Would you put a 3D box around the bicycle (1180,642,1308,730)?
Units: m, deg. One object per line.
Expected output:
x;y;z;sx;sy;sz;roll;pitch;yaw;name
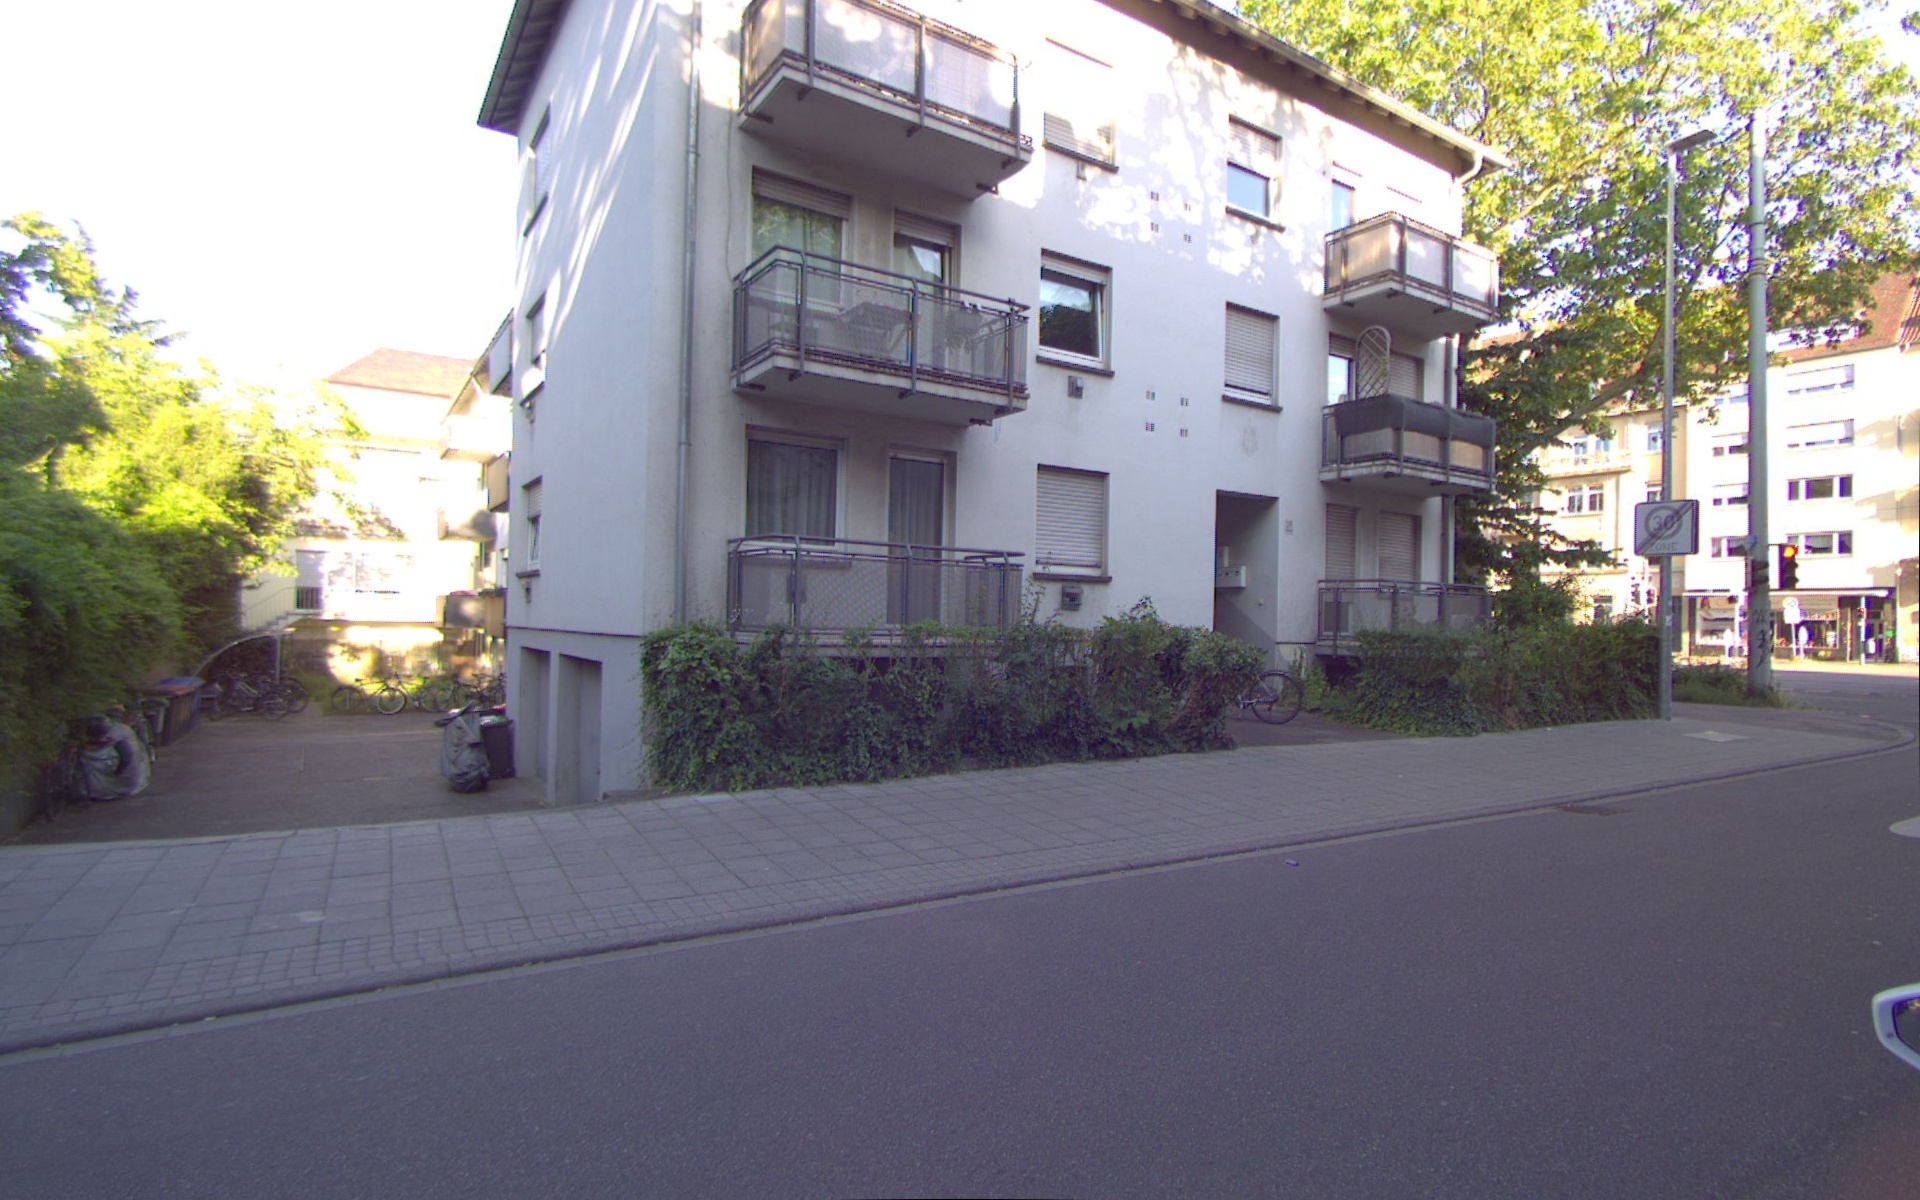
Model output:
3.830;1.140;13.566;1.590;1.022;0.517;3;1;20;bicycle

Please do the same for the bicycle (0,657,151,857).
-10.600;1.688;11.975;0.961;1.917;4.156;1;-2;-32;bicycle

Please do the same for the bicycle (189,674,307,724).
-17.334;2.384;24.524;2.268;1.148;0.689;2;-4;-30;bicycle

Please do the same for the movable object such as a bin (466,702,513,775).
-7.915;2.312;16.899;0.606;1.129;0.795;1;-3;-33;movable object such as a bin

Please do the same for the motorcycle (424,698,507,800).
-7.402;2.181;15.003;0.739;1.313;1.563;2;-2;-41;motorcycle

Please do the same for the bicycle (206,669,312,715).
-19.369;2.526;27.808;2.311;1.192;0.689;2;-4;-30;bicycle

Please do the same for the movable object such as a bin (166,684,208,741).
-15.928;2.305;20.719;0.606;1.129;0.795;1;-3;-33;movable object such as a bin

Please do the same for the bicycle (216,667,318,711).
-19.640;2.509;28.536;2.311;1.192;0.689;2;-4;-30;bicycle

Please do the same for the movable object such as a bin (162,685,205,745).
-15.487;2.271;20.049;0.606;1.129;0.795;1;-3;-33;movable object such as a bin

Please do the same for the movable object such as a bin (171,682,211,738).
-16.360;2.336;21.381;0.606;1.129;0.795;1;-3;-33;movable object such as a bin

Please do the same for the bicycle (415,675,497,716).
-13.909;2.622;27.740;1.982;1.085;0.561;2;-4;-30;bicycle

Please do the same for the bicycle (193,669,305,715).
-18.598;2.382;26.340;2.311;1.148;0.689;2;-4;-30;bicycle

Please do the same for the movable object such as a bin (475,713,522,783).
-7.399;2.357;16.085;0.606;1.051;0.534;1;-3;-34;movable object such as a bin

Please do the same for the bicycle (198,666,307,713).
-19.023;2.391;27.088;2.311;1.192;0.689;2;-4;-30;bicycle

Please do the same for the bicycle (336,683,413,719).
-15.563;2.676;26.740;1.734;0.890;0.561;2;-4;-30;bicycle

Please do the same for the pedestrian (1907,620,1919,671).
47.808;2.236;49.589;1.049;2.497;1.338;1;0;-34;pedestrian
